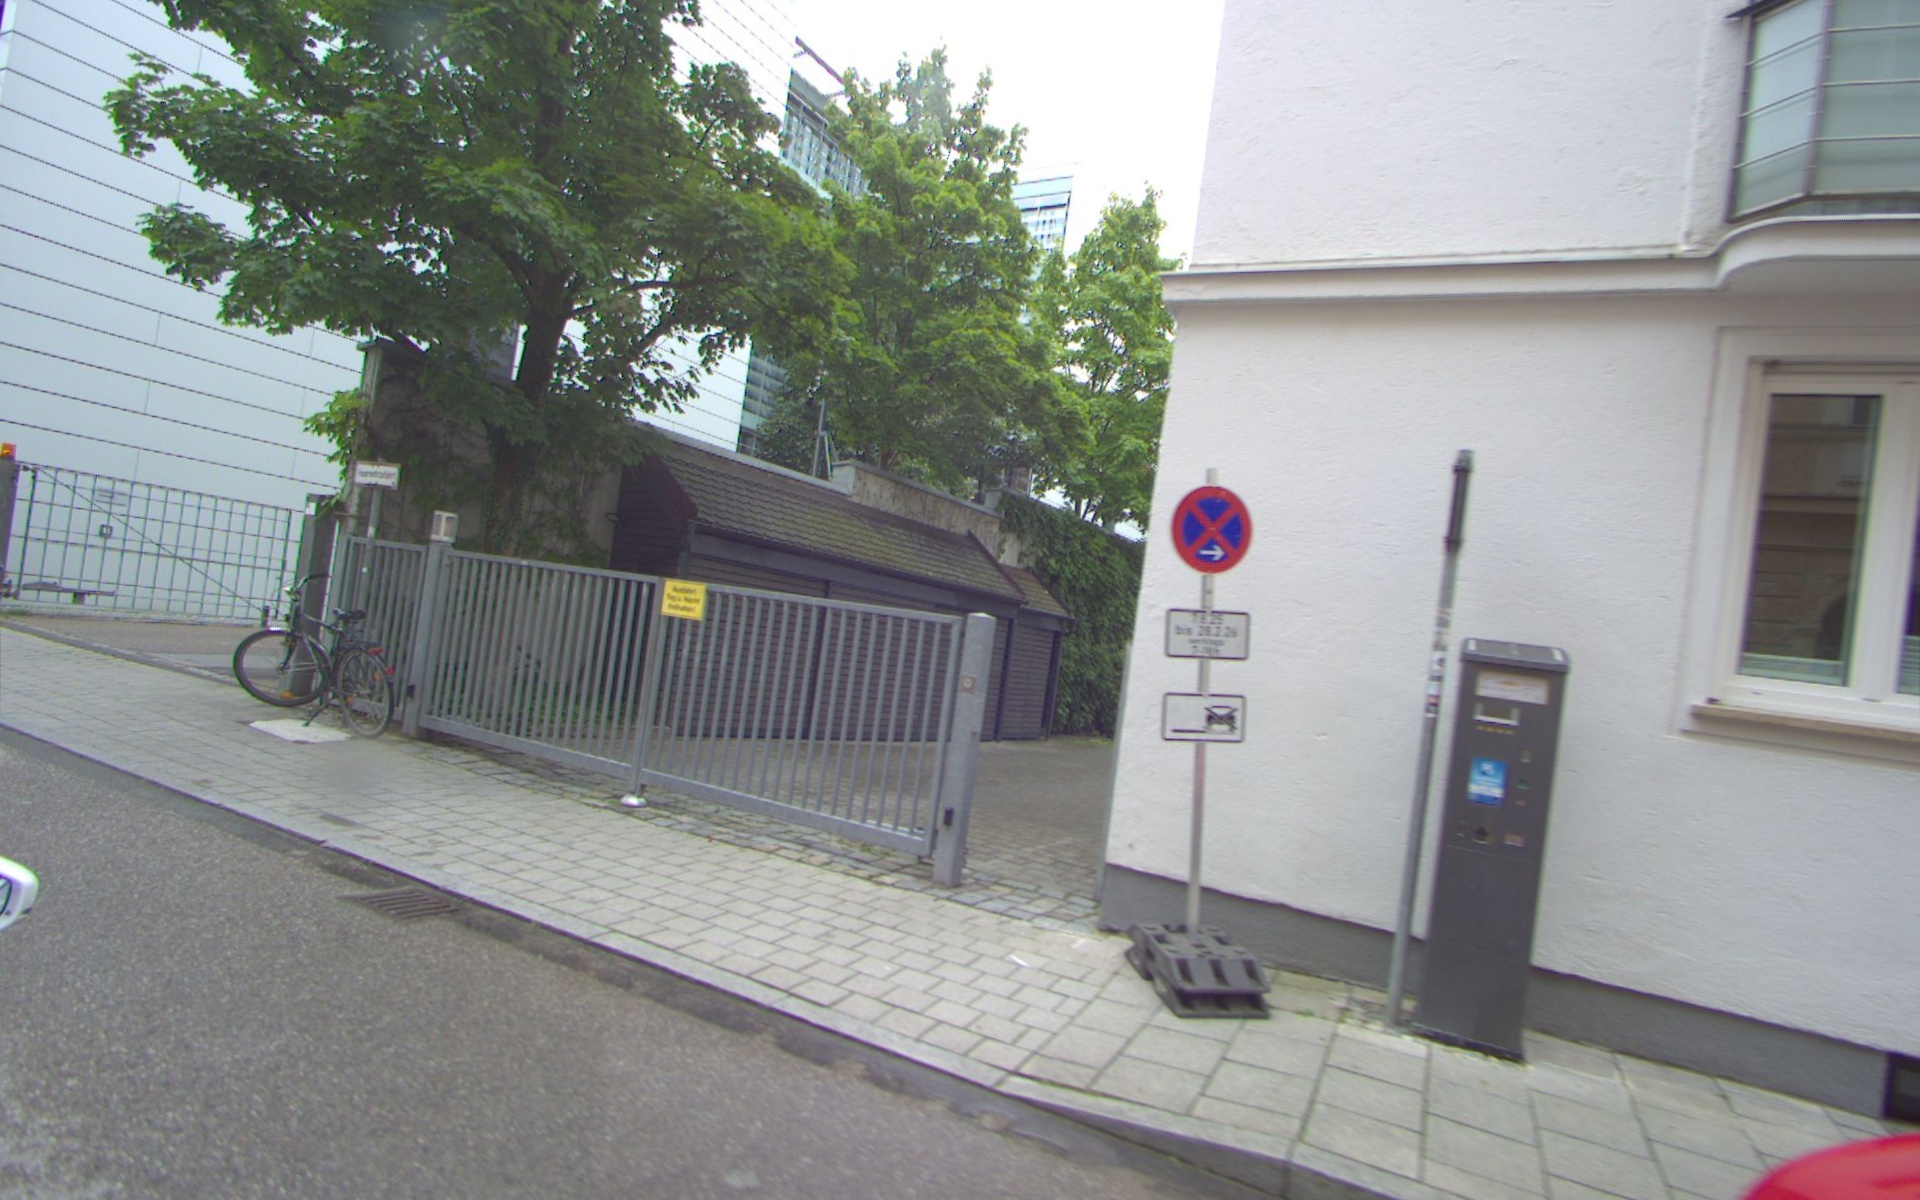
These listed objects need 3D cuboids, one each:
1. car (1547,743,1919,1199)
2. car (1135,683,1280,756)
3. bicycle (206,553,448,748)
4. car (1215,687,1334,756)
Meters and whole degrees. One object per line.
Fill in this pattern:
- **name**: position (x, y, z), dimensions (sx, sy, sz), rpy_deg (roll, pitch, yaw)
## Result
- **car**: position (3.116, 1.224, 0.846), dimensions (4.219, 1.462, 1.769), rpy_deg (7, -3, 21)
- **car**: position (5.602, 2.707, 22.451), dimensions (1.671, 1.248, 3.992), rpy_deg (7, -3, 36)
- **bicycle**: position (-5.153, 0.393, 8.165), dimensions (1.801, 1.212, 0.709), rpy_deg (10, 0, 27)
- **car**: position (8.334, 3.235, 26.463), dimensions (1.678, 1.446, 3.992), rpy_deg (7, -3, 36)
